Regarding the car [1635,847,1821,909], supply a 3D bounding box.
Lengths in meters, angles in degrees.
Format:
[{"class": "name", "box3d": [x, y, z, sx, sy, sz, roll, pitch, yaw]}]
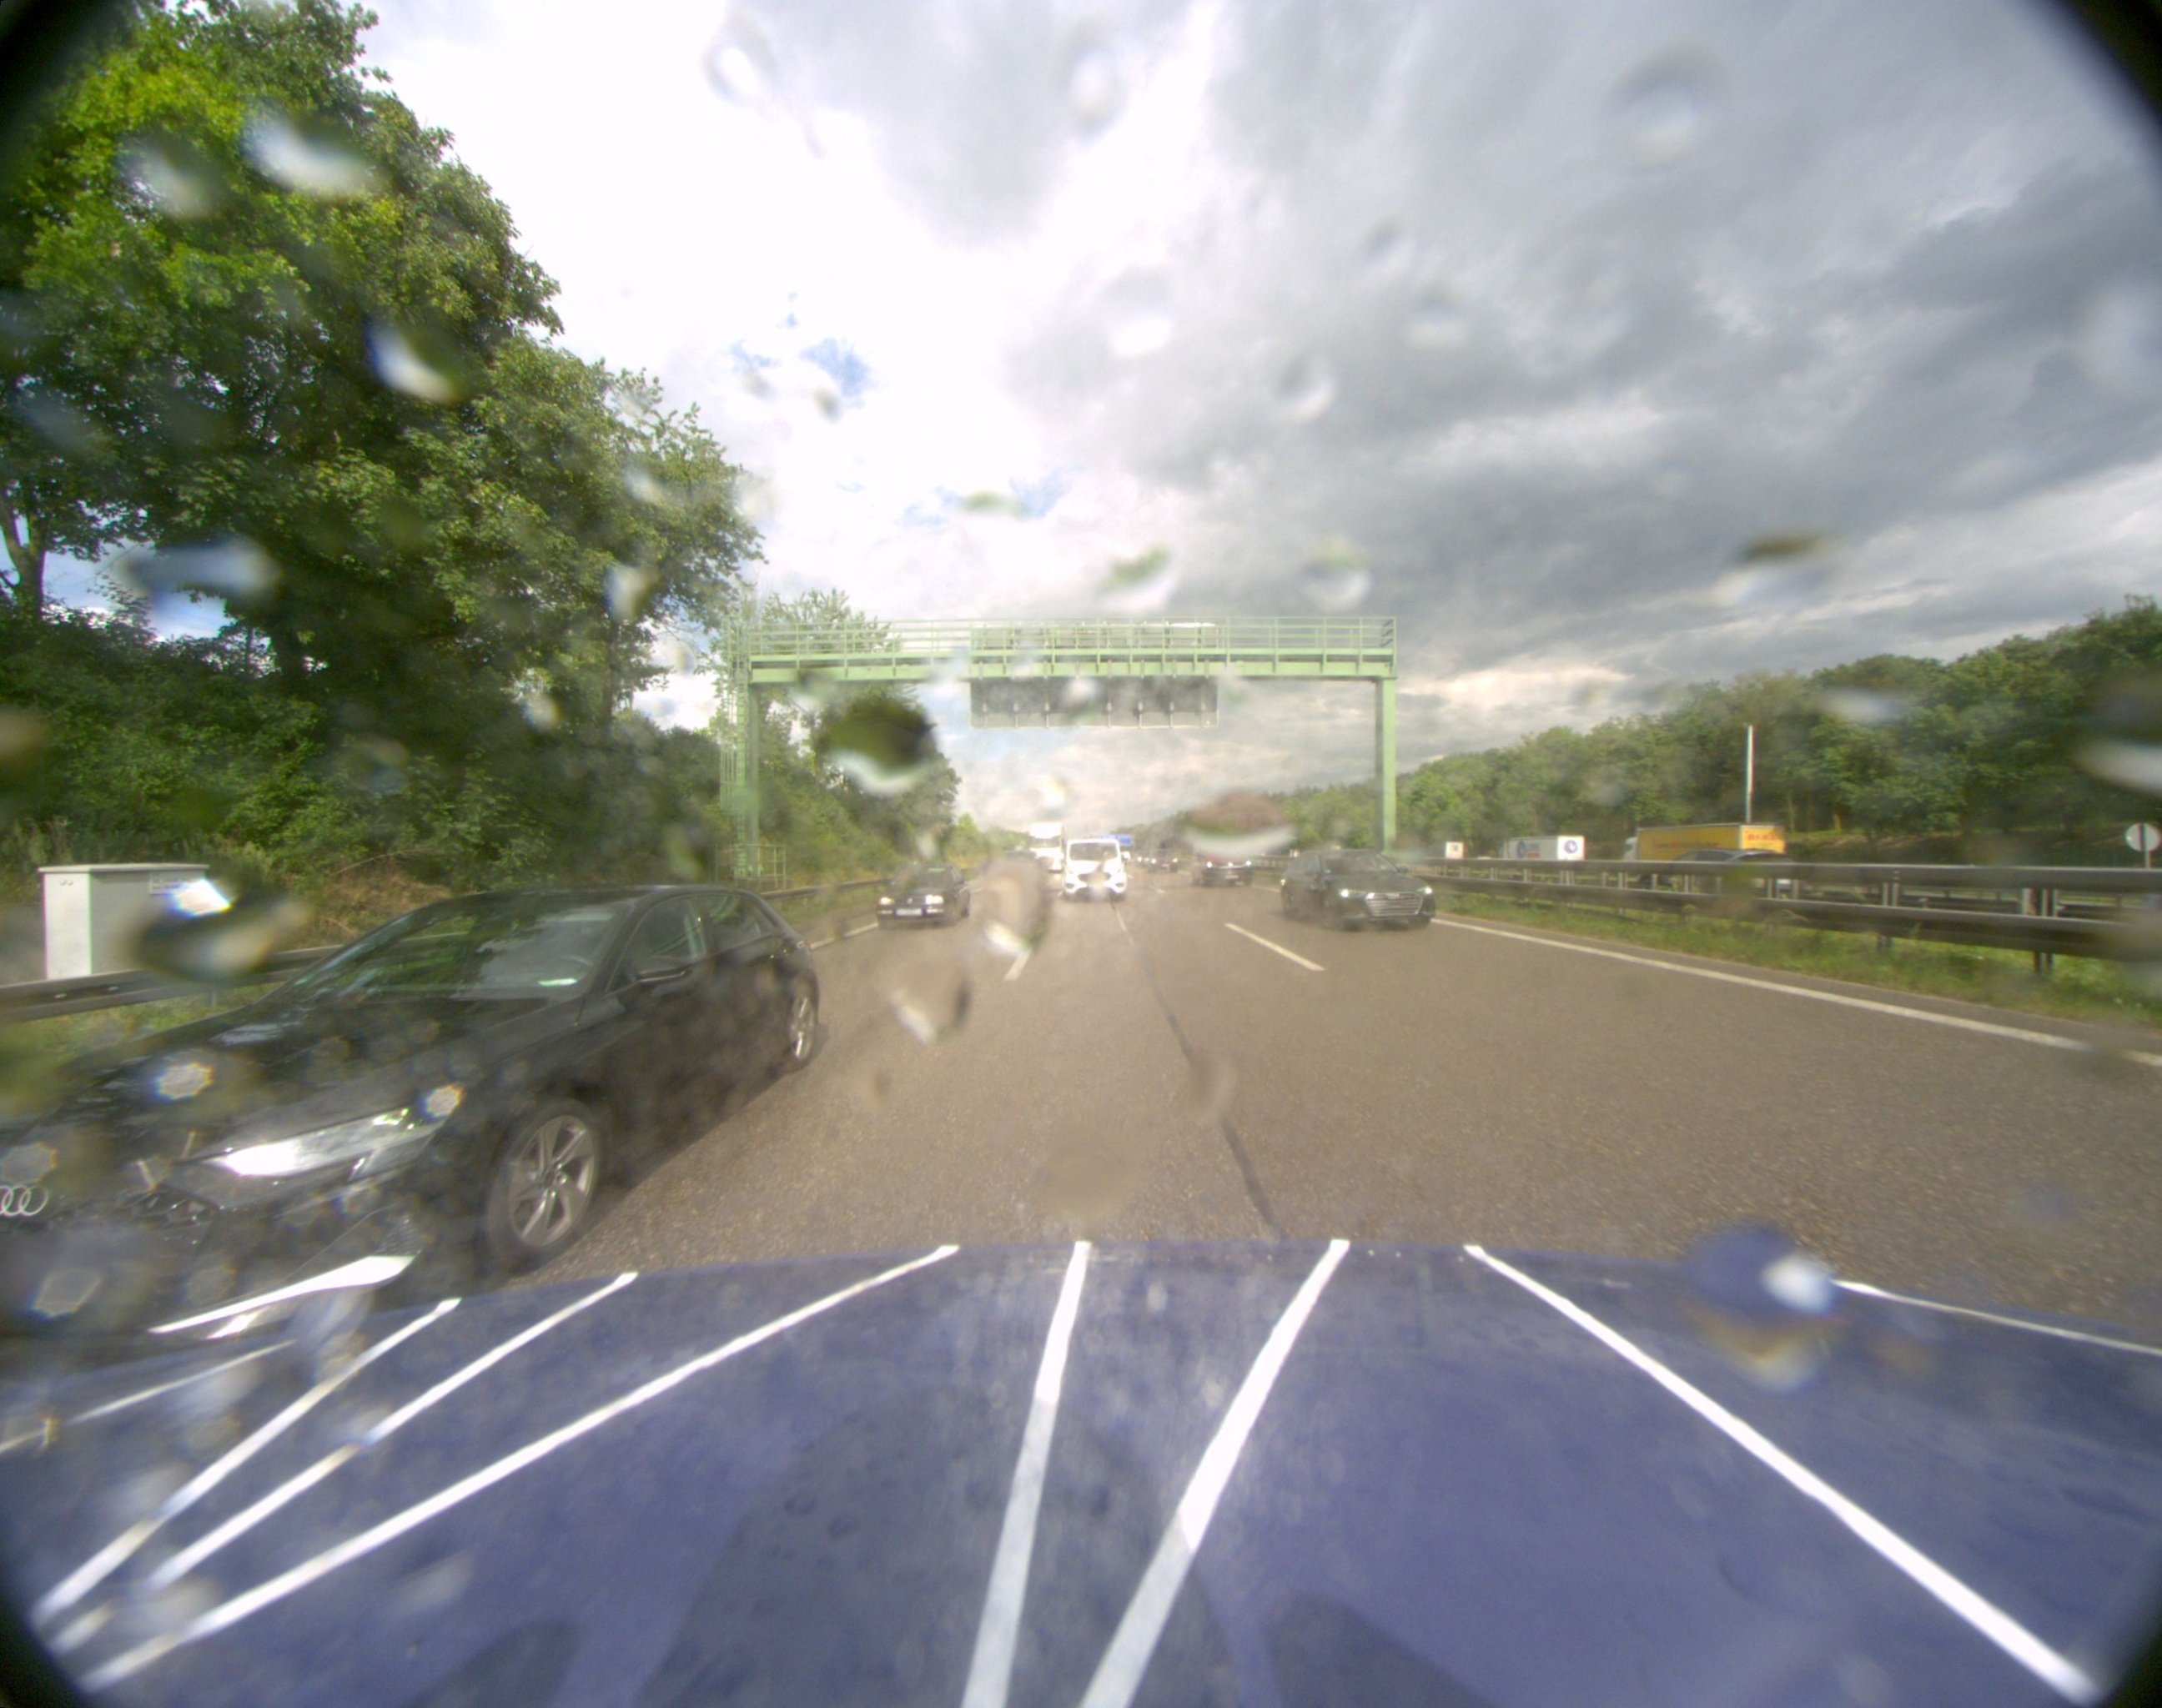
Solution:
[{"class": "car", "box3d": [18.243, 0.618, 21.714, 1.926, 1.571, 4.000, -1, 0, 0]}]

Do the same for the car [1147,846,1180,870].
[{"class": "car", "box3d": [5.843, 0.262, 54.383, 1.895, 1.660, 4.294, -2, 1, 0]}]

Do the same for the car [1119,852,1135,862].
[{"class": "car", "box3d": [6.234, 0.344, 103.384, 1.888, 1.228, 4.506, -2, 0, 0]}]

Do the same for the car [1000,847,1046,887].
[{"class": "car", "box3d": [-2.850, 0.593, 38.367, 1.831, 1.793, 5.305, -1, 0, 0]}]

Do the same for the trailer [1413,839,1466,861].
[{"class": "trailer", "box3d": [56.326, -0.630, 119.690, 3.026, 3.174, 12.175, 0, 0, 2]}]

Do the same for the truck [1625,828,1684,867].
[{"class": "truck", "box3d": [48.398, -0.564, 64.206, 1.979, 3.080, 5.080, -2, 1, 12]}]

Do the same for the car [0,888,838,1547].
[{"class": "car", "box3d": [-2.912, 1.017, 4.060, 1.759, 1.388, 4.368, -2, 1, 0]}]

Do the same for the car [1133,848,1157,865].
[{"class": "car", "box3d": [6.127, 0.241, 73.208, 1.895, 1.558, 4.053, -2, 1, 0]}]

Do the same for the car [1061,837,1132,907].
[{"class": "car", "box3d": [0.451, 0.514, 24.536, 1.985, 1.973, 5.168, -2, 0, 0]}]

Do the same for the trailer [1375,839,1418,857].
[{"class": "trailer", "box3d": [57.142, -1.110, 138.114, 2.611, 3.253, 12.646, 0, 1, 0]}]

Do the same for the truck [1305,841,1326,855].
[{"class": "truck", "box3d": [55.430, -1.509, 179.789, 3.182, 3.237, 5.389, 0, 1, -2]}]

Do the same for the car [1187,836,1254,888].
[{"class": "car", "box3d": [5.751, 0.290, 31.896, 1.895, 1.973, 4.750, -2, 0, 0]}]

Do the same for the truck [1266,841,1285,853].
[{"class": "truck", "box3d": [52.420, -1.852, 205.136, 3.082, 3.237, 6.093, 0, 1, -7]}]

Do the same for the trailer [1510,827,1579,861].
[{"class": "trailer", "box3d": [52.498, -1.072, 86.517, 2.187, 3.579, 11.725, 0, 0, 8]}]

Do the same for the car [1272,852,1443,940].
[{"class": "car", "box3d": [5.182, 0.696, 14.922, 1.723, 1.403, 4.467, -2, 1, 0]}]

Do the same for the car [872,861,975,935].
[{"class": "car", "box3d": [-3.561, 0.940, 17.797, 1.655, 1.448, 3.744, -2, 1, -1]}]

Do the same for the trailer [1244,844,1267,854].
[{"class": "trailer", "box3d": [49.966, -1.400, 218.220, 2.537, 2.559, 9.869, -2, 1, -11]}]

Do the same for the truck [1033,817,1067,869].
[{"class": "truck", "box3d": [-2.524, -0.855, 63.469, 2.460, 4.080, 5.332, -2, 0, 0]}]

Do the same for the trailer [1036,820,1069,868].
[{"class": "trailer", "box3d": [-2.507, -0.924, 71.218, 2.451, 4.095, 12.214, -2, 1, 0]}]

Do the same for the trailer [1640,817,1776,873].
[{"class": "trailer", "box3d": [46.917, -0.716, 57.602, 1.997, 3.673, 13.669, -2, 1, 13]}]

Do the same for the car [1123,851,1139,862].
[{"class": "car", "box3d": [6.039, 0.281, 92.491, 1.675, 1.228, 3.999, -2, 0, 0]}]

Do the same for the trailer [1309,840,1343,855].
[{"class": "trailer", "box3d": [55.696, -1.443, 172.993, 3.193, 3.253, 12.644, 0, 1, -2]}]

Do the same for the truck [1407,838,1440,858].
[{"class": "truck", "box3d": [56.538, -0.948, 125.569, 3.049, 3.165, 5.597, 0, 1, 2]}]

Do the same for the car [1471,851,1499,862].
[{"class": "car", "box3d": [55.337, 0.356, 104.179, 1.899, 1.494, 4.001, 0, 0, 4]}]

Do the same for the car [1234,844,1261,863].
[{"class": "car", "box3d": [18.232, -0.016, 83.399, 1.837, 2.001, 3.999, -3, -1, -3]}]

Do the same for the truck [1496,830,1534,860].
[{"class": "truck", "box3d": [53.497, -1.115, 93.737, 2.167, 3.599, 5.581, 0, 1, 8]}]

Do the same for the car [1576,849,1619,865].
[{"class": "car", "box3d": [50.971, 0.267, 75.079, 1.898, 1.494, 4.002, 0, 0, 8]}]

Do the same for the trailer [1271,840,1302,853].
[{"class": "trailer", "box3d": [53.273, -2.063, 197.725, 3.086, 3.253, 13.400, 0, 1, -6]}]
